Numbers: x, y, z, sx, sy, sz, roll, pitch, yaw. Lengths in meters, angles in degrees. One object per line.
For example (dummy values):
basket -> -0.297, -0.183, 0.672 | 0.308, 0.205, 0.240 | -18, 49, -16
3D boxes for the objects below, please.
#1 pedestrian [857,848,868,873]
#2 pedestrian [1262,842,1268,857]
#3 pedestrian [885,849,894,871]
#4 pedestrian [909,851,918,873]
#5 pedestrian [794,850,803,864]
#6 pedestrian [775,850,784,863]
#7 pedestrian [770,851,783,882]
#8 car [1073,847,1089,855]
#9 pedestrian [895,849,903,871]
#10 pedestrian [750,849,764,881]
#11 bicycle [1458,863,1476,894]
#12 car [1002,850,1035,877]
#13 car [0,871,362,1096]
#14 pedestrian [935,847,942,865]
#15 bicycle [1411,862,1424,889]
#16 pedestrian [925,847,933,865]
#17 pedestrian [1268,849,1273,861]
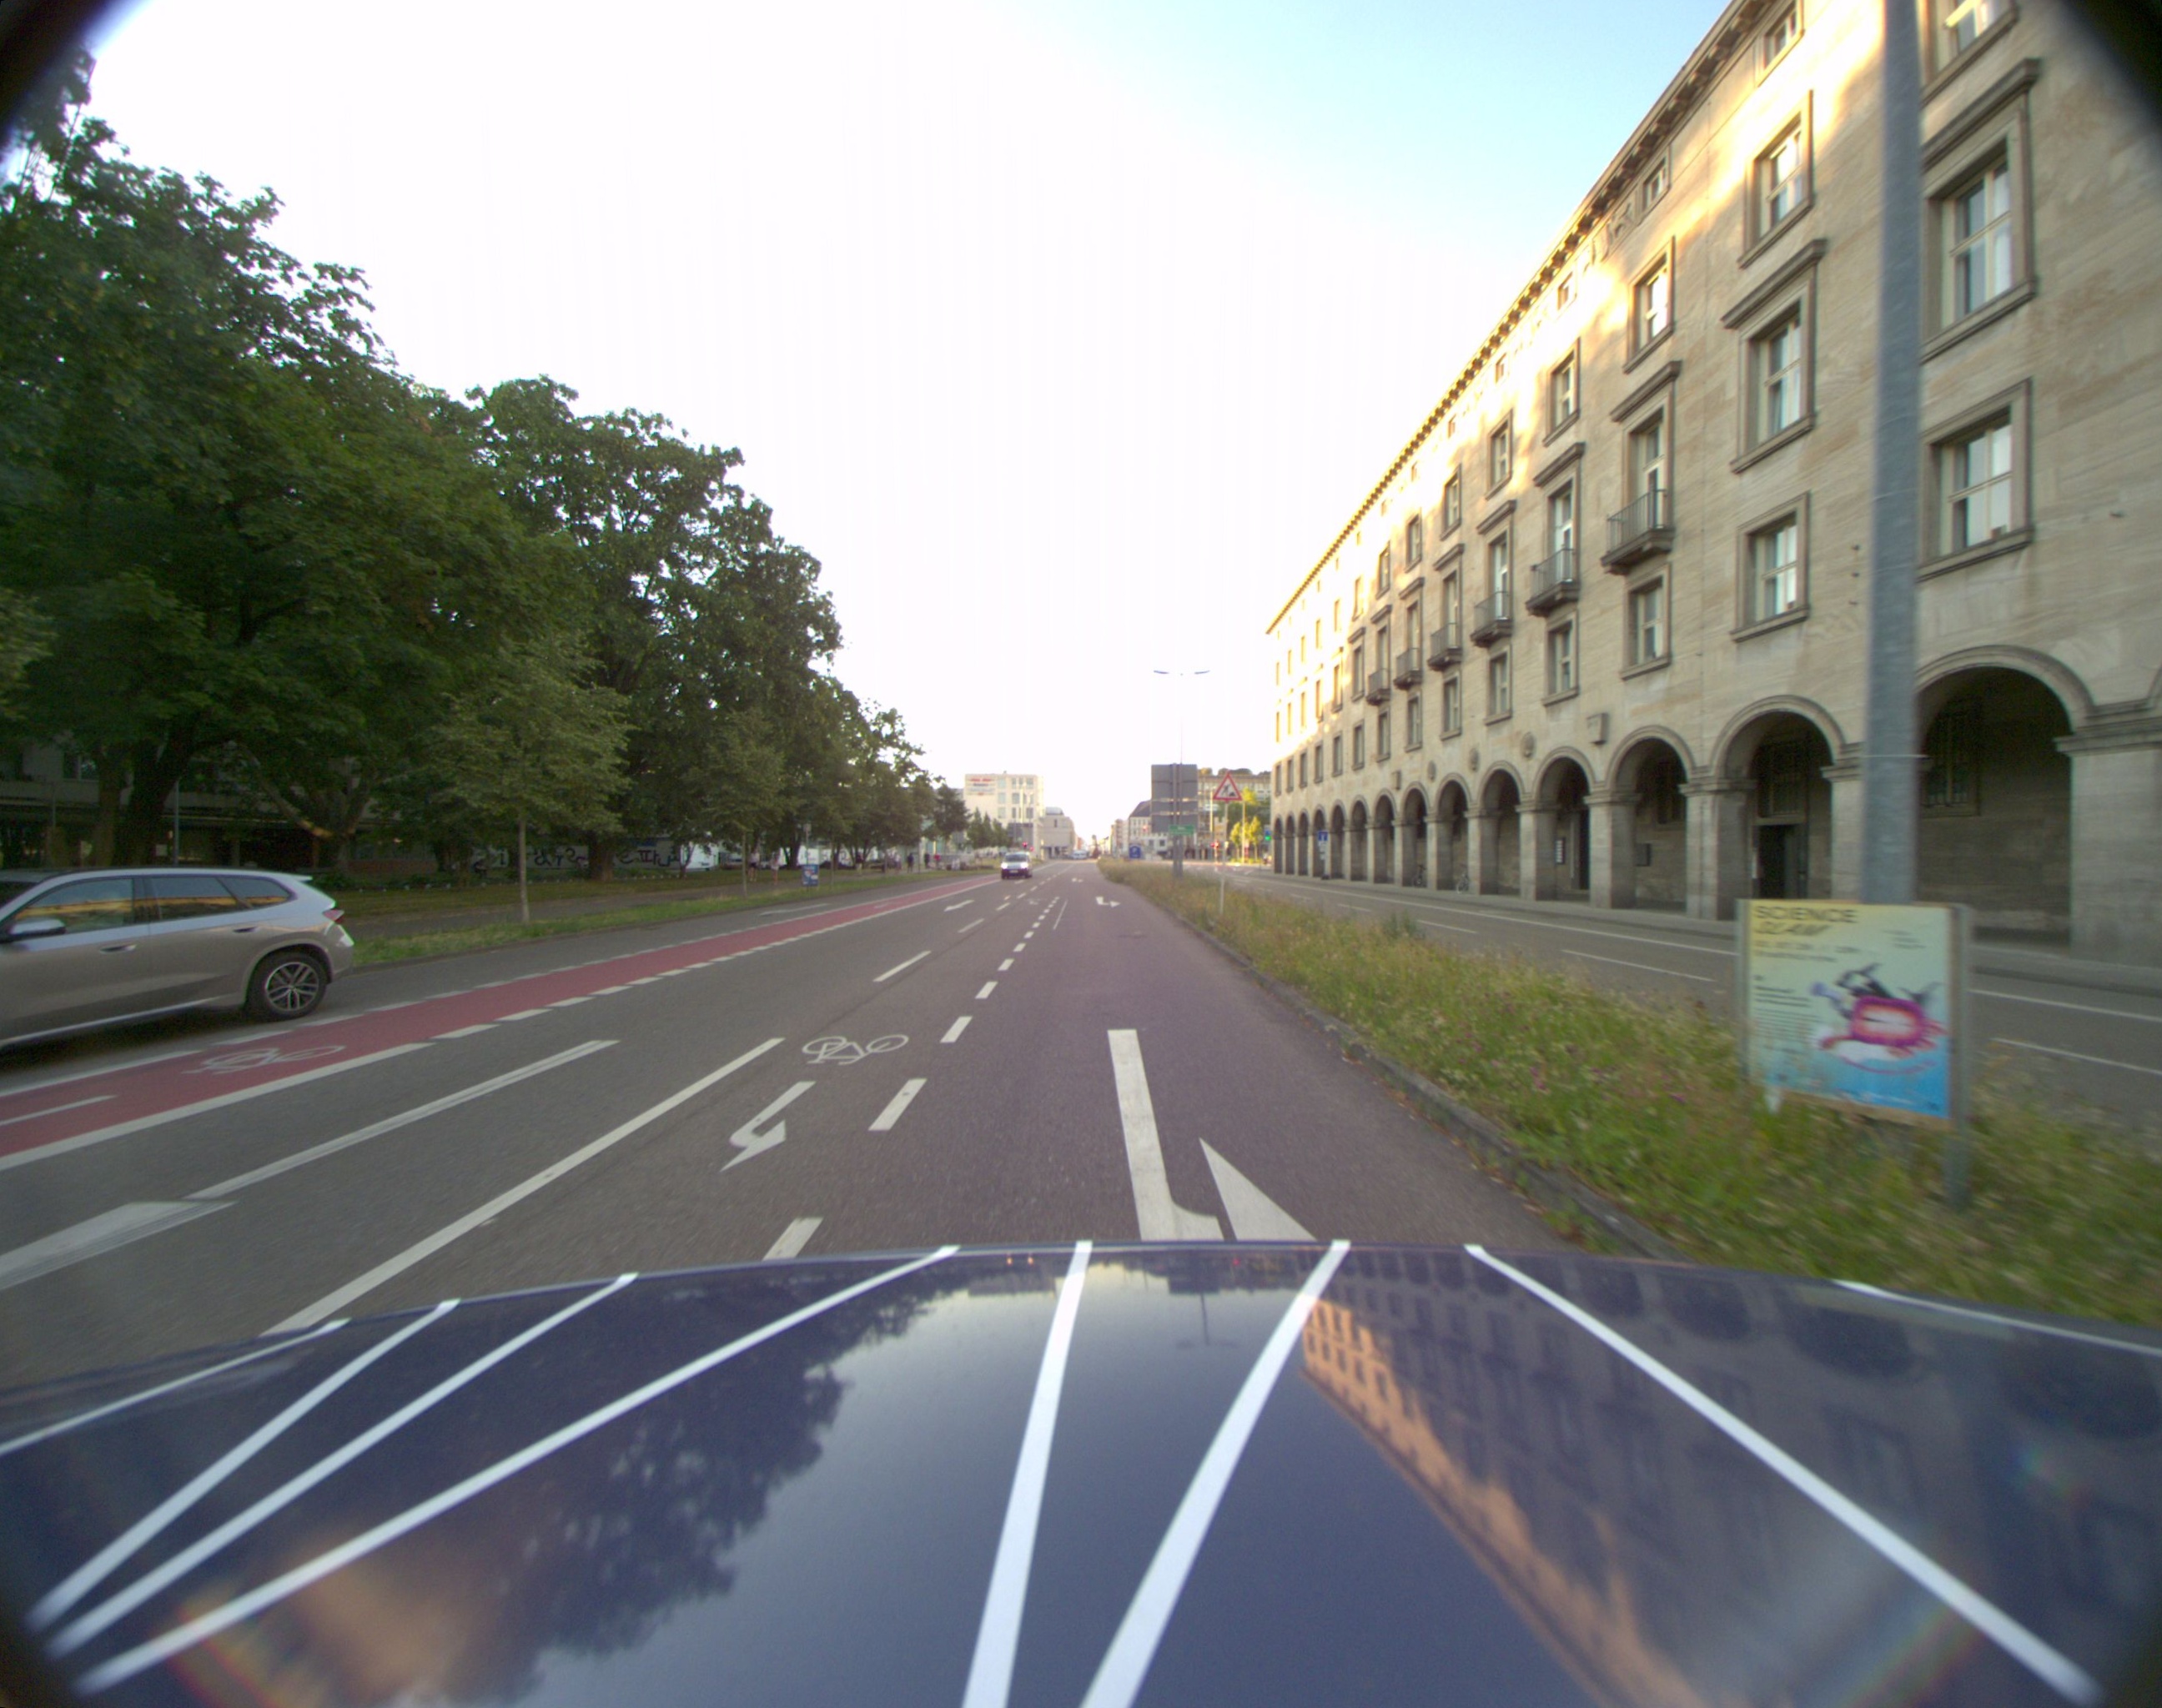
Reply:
pedestrian -> -15.111, 0.456, 52.538 | 0.509, 1.720, 0.719 | 0, 1, 1
pedestrian -> 22.615, -0.538, 93.440 | 0.638, 1.747, 0.506 | 0, 1, 0
pedestrian -> -15.220, 0.450, 60.498 | 0.519, 1.720, 0.719 | 0, 1, 1
pedestrian -> -13.464, 0.625, 61.027 | 0.558, 1.729, 0.555 | 0, 1, 1
pedestrian -> -27.989, 0.318, 75.390 | 0.662, 1.347, 0.559 | 0, 1, 1
pedestrian -> -29.819, 0.258, 75.070 | 0.631, 1.347, 0.681 | 0, 1, 1
pedestrian -> -15.526, 0.651, 38.787 | 0.500, 1.592, 0.365 | 0, 1, 0
car -> 0.078, -0.778, 219.174 | 1.994, 2.297, 5.100 | 1, 1, 37
pedestrian -> -14.472, 0.468, 60.421 | 0.509, 1.720, 0.719 | 0, 1, 1
pedestrian -> -16.481, 0.543, 38.661 | 0.500, 1.592, 0.522 | 0, 1, 1
bicycle -> 15.389, 0.944, 30.274 | 0.513, 1.115, 2.427 | 1, 2, 30
car -> -4.052, 0.579, 49.759 | 1.782, 1.676, 4.215 | 0, 0, 1
car -> -9.046, 1.043, 6.343 | 1.826, 1.612, 4.337 | -2, 0, 2
pedestrian -> -13.870, 0.183, 73.912 | 0.638, 1.747, 0.506 | 0, 1, 0
bicycle -> 15.459, 0.948, 34.883 | 0.513, 1.172, 2.427 | 1, 1, 25
pedestrian -> -14.770, 0.204, 73.891 | 0.638, 1.747, 0.506 | 0, 1, 0
pedestrian -> 23.269, 0.119, 93.378 | 0.526, 1.532, 0.390 | 0, 1, 0
